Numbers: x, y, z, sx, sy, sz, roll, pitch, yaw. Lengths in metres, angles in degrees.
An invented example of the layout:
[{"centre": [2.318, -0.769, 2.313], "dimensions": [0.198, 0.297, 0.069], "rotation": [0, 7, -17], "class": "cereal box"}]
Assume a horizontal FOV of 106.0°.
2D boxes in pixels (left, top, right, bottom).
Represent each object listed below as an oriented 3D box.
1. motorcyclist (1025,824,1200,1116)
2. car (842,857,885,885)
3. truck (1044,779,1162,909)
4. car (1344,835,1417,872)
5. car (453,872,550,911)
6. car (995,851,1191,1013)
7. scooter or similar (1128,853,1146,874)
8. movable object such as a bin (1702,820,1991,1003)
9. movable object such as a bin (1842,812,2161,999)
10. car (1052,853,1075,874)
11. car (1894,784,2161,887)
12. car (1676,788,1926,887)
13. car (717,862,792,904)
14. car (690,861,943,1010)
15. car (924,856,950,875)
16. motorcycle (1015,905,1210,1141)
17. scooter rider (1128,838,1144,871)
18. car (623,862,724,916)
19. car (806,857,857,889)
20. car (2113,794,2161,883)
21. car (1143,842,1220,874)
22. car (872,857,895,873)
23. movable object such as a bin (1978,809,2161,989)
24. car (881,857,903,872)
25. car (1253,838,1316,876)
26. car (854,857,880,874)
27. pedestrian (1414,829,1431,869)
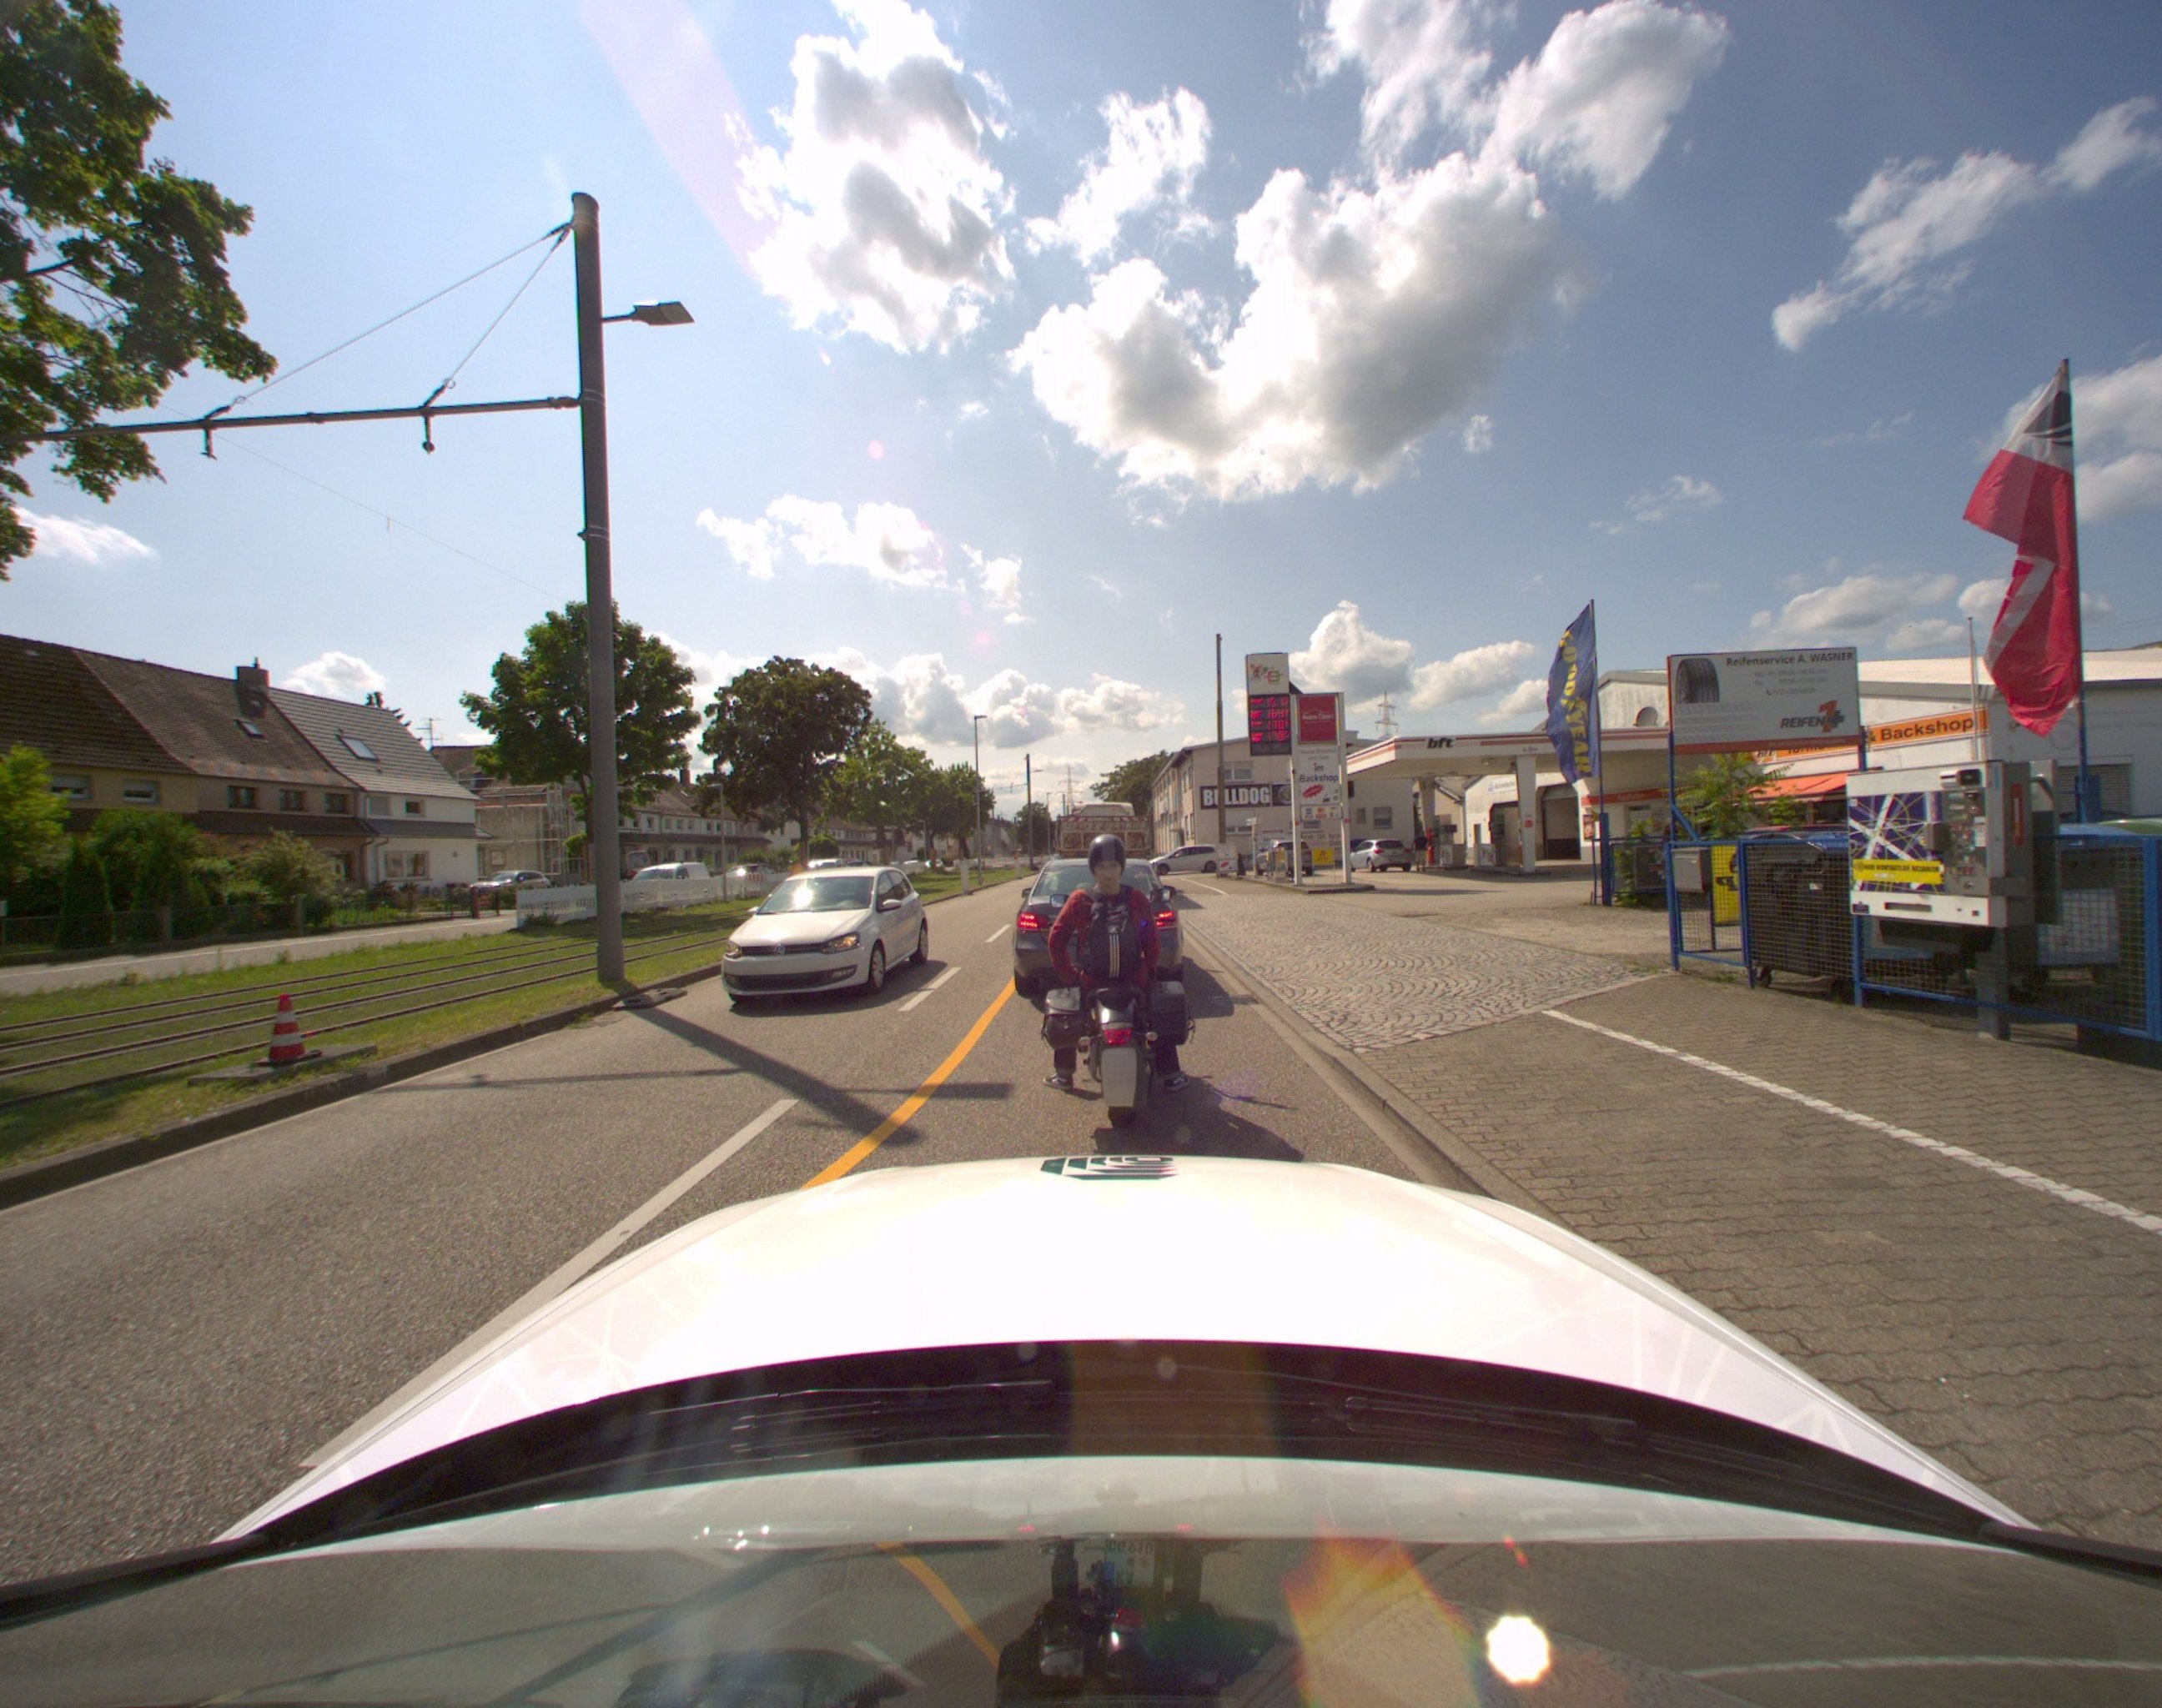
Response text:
[{"centre": [0.196, 0.651, 5.192], "dimensions": [0.966, 1.633, 1.215], "rotation": [-1, 0, 1], "class": "motorcyclist"}, {"centre": [-14.866, 1.138, 55.754], "dimensions": [1.692, 1.739, 3.862], "rotation": [-2, 0, 2], "class": "car"}, {"centre": [0.643, -0.284, 25.601], "dimensions": [2.960, 3.304, 8.407], "rotation": [-2, 0, 1], "class": "truck"}, {"centre": [13.540, -0.024, 37.065], "dimensions": [1.826, 1.479, 4.009], "rotation": [-3, 0, 1], "class": "car"}, {"centre": [-27.478, 1.728, 38.789], "dimensions": [1.692, 1.593, 3.862], "rotation": [-2, 0, 2], "class": "car"}, {"centre": [0.147, 0.746, 9.863], "dimensions": [1.826, 1.479, 4.009], "rotation": [-3, 0, 1], "class": "car"}, {"centre": [3.219, 0.559, 47.158], "dimensions": [0.794, 1.144, 1.517], "rotation": [-2, 0, -3], "class": "scooter or similar"}, {"centre": [6.826, 0.468, 7.400], "dimensions": [1.222, 1.454, 1.455], "rotation": [-2, 0, 0], "class": "movable object such as a bin"}, {"centre": [8.105, 0.414, 7.276], "dimensions": [1.222, 1.454, 1.455], "rotation": [-2, 0, 0], "class": "movable object such as a bin"}, {"centre": [-1.420, 0.809, 68.955], "dimensions": [1.674, 1.624, 4.120], "rotation": [-2, 0, 1], "class": "car"}, {"centre": [21.251, -0.402, 18.266], "dimensions": [3.972, 2.013, 2.001], "rotation": [-2, 0, 1], "class": "car"}, {"centre": [16.603, -0.373, 18.958], "dimensions": [3.972, 2.013, 2.001], "rotation": [-2, 0, 1], "class": "car"}, {"centre": [-15.324, 1.322, 38.483], "dimensions": [1.692, 1.739, 4.056], "rotation": [-2, 0, 2], "class": "car"}, {"centre": [-3.105, 0.861, 10.559], "dimensions": [1.709, 1.413, 4.264], "rotation": [-2, 0, 2], "class": "car"}, {"centre": [-14.185, 1.150, 80.355], "dimensions": [1.692, 1.739, 3.862], "rotation": [-2, 0, 2], "class": "car"}, {"centre": [0.197, 0.930, 5.310], "dimensions": [0.972, 1.013, 2.433], "rotation": [-1, 0, 2], "class": "motorcycle"}, {"centre": [3.192, 0.030, 47.193], "dimensions": [0.793, 1.818, 0.508], "rotation": [-2, 0, -4], "class": "scooter rider"}, {"centre": [-15.416, 1.275, 31.053], "dimensions": [1.692, 1.817, 3.862], "rotation": [-2, 0, 2], "class": "car"}, {"centre": [-15.059, 1.108, 49.387], "dimensions": [1.692, 1.739, 3.862], "rotation": [-2, 0, 2], "class": "car"}, {"centre": [26.353, -0.434, 18.182], "dimensions": [3.972, 2.013, 2.001], "rotation": [-2, 0, 1], "class": "car"}, {"centre": [5.767, 0.226, 47.045], "dimensions": [4.101, 1.624, 1.682], "rotation": [-3, 0, -7], "class": "car"}, {"centre": [-24.048, 1.334, 99.338], "dimensions": [1.692, 1.739, 4.064], "rotation": [-2, 0, 2], "class": "car"}, {"centre": [9.451, 0.333, 7.187], "dimensions": [1.425, 1.454, 1.455], "rotation": [-2, 0, 0], "class": "movable object such as a bin"}, {"centre": [-24.377, 1.342, 105.361], "dimensions": [1.692, 1.739, 4.064], "rotation": [-2, 0, 2], "class": "car"}, {"centre": [9.069, 0.121, 36.573], "dimensions": [1.826, 1.536, 4.009], "rotation": [-3, 0, 1], "class": "car"}, {"centre": [-24.463, 1.300, 93.135], "dimensions": [1.692, 1.739, 4.064], "rotation": [-2, 0, 2], "class": "car"}, {"centre": [14.843, -0.211, 35.385], "dimensions": [0.628, 1.683, 0.626], "rotation": [-2, 0, 23], "class": "pedestrian"}]
